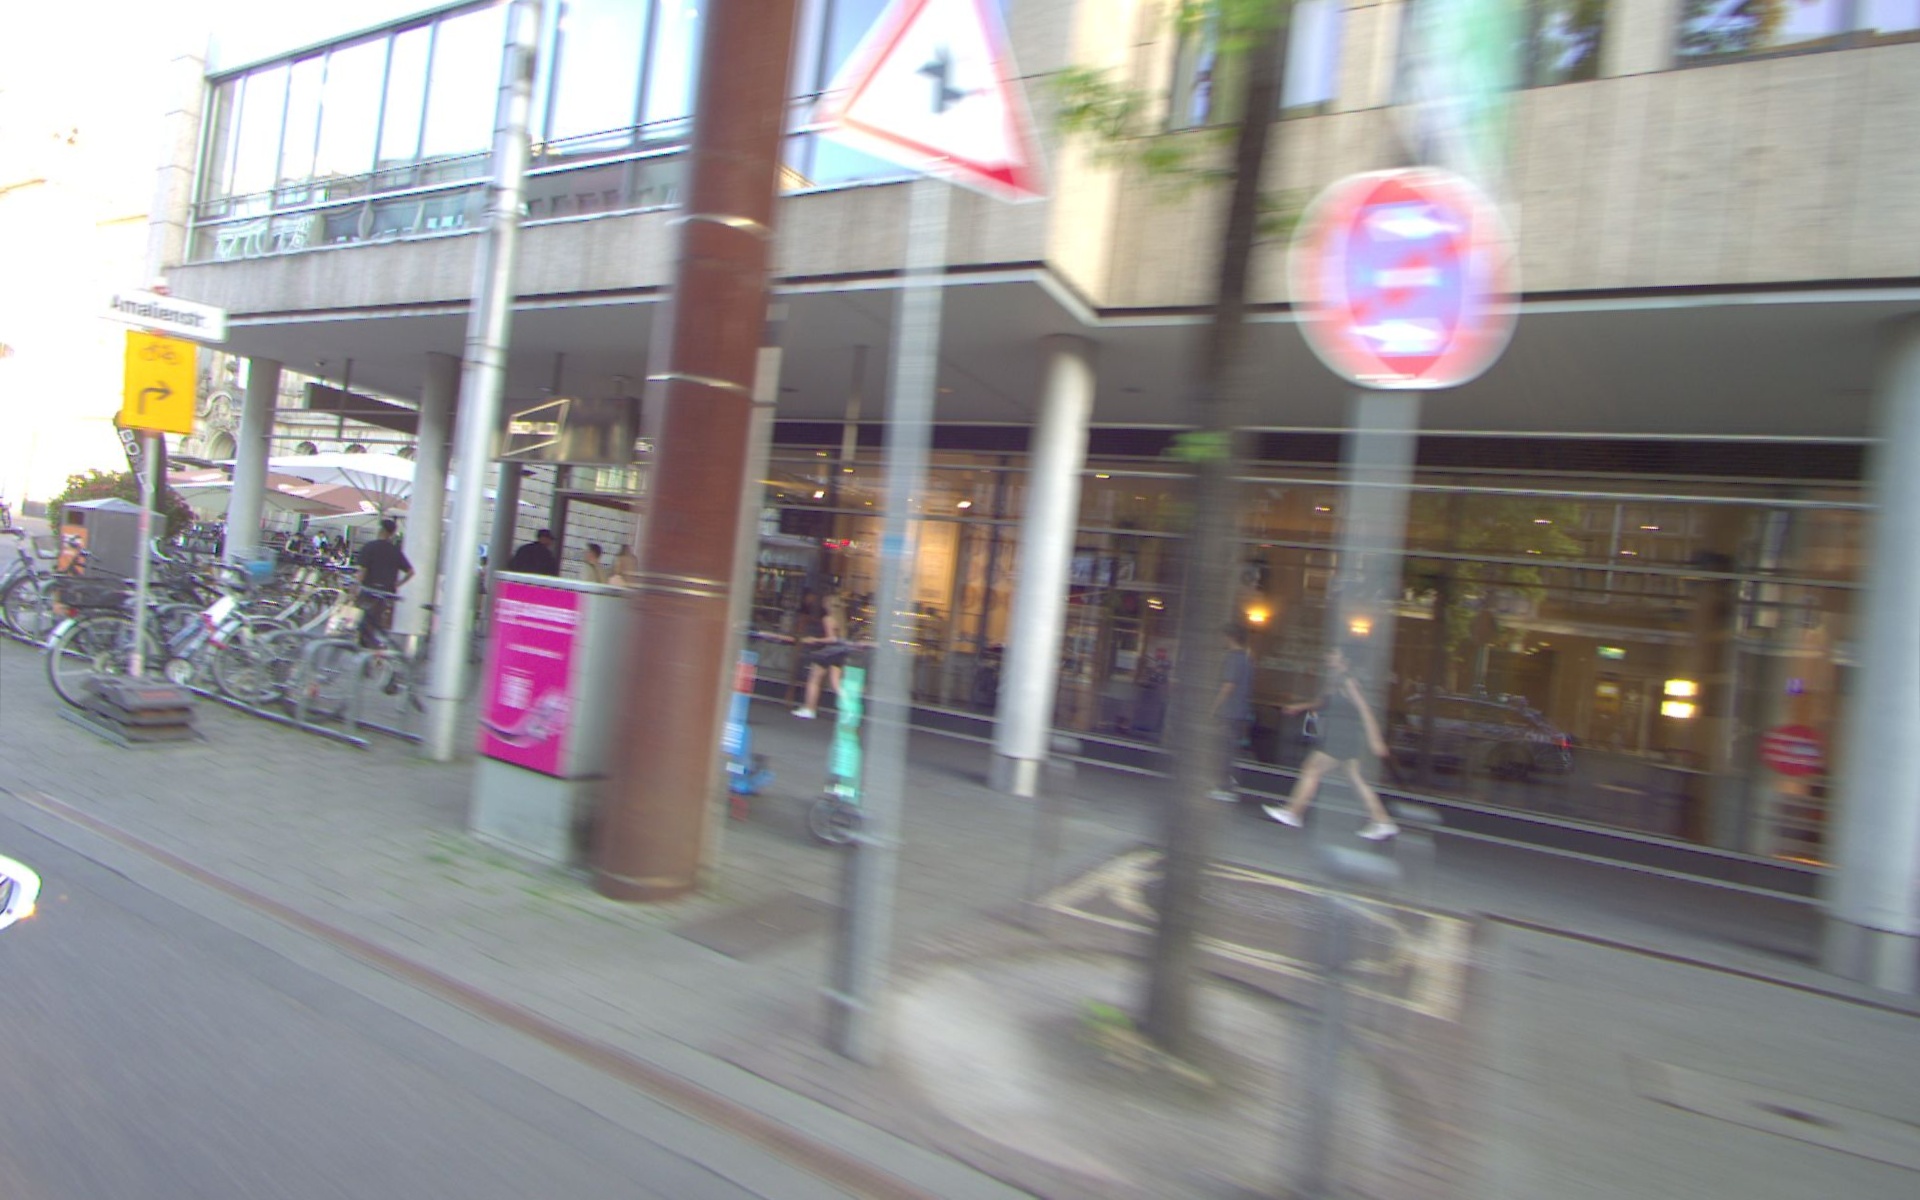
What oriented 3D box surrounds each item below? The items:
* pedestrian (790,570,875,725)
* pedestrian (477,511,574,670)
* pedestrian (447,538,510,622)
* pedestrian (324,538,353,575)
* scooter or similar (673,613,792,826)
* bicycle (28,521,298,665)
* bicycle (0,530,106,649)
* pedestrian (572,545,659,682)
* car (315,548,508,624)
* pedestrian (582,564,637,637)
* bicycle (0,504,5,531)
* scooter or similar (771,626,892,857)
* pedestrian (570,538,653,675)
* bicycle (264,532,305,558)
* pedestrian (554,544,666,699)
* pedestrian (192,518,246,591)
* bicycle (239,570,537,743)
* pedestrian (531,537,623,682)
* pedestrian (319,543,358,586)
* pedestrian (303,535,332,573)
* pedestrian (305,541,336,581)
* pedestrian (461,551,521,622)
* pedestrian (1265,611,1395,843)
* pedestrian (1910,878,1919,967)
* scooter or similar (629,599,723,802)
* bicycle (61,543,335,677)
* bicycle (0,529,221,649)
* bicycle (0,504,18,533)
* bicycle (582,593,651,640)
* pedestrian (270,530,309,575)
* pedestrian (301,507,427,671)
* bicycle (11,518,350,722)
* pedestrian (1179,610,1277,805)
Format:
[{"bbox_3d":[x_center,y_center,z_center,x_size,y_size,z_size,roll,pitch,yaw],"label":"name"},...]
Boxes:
[{"bbox_3d":[-1.525,0.570,12.060,0.606,1.753,0.571,7,1,28],"label":"pedestrian"},{"bbox_3d":[-5.887,-0.118,13.641,0.769,2.039,0.687,7,1,30],"label":"pedestrian"},{"bbox_3d":[-11.651,-0.481,24.346,0.859,1.860,0.806,7,-2,29],"label":"pedestrian"},{"bbox_3d":[-24.419,-1.717,39.520,0.572,1.324,0.593,10,0,27],"label":"pedestrian"},{"bbox_3d":[-1.499,0.745,6.793,0.386,1.267,1.191,7,1,0],"label":"scooter or similar"},{"bbox_3d":[-7.859,-0.036,10.037,0.749,1.238,1.919,7,1,24],"label":"bicycle"},{"bbox_3d":[-9.631,-0.135,9.782,0.655,1.122,1.856,7,0,27],"label":"bicycle"},{"bbox_3d":[-4.778,0.196,13.959,0.707,1.809,0.664,7,1,30],"label":"pedestrian"},{"bbox_3d":[-14.289,-0.323,26.447,1.745,1.425,4.050,6,-3,28],"label":"car"},{"bbox_3d":[-9.788,0.028,28.095,0.858,1.862,0.867,10,1,24],"label":"pedestrian"},{"bbox_3d":[-32.423,-2.795,33.681,0.983,0.878,0.316,7,1,28],"label":"bicycle"},{"bbox_3d":[-0.785,0.842,6.409,0.488,1.267,1.115,7,1,-1],"label":"scooter or similar"},{"bbox_3d":[-5.033,0.096,14.522,0.708,1.871,0.663,7,1,35],"label":"pedestrian"},{"bbox_3d":[-27.901,-2.278,41.590,0.403,0.905,1.321,8,0,25],"label":"bicycle"},{"bbox_3d":[-4.193,0.262,12.105,0.795,1.716,0.805,7,0,15],"label":"pedestrian"},{"bbox_3d":[-20.409,-1.257,27.707,0.793,1.845,0.809,8,1,34],"label":"pedestrian"},{"bbox_3d":[-4.564,0.442,8.222,0.712,1.170,2.000,7,1,24],"label":"bicycle"},{"bbox_3d":[-5.058,0.131,13.297,0.707,1.809,0.664,7,1,30],"label":"pedestrian"},{"bbox_3d":[-20.776,-1.202,33.644,0.817,1.257,0.778,10,0,43],"label":"pedestrian"},{"bbox_3d":[-24.912,-1.787,39.006,0.571,1.324,0.594,10,0,25],"label":"pedestrian"},{"bbox_3d":[-21.953,-1.343,34.526,0.691,1.240,0.614,10,0,43],"label":"pedestrian"},{"bbox_3d":[-11.671,-0.330,25.059,0.859,1.599,0.806,7,-2,29],"label":"pedestrian"},{"bbox_3d":[3.163,1.049,8.577,0.760,1.794,0.774,7,0,28],"label":"pedestrian"},{"bbox_3d":[6.438,1.411,5.965,0.865,1.862,0.669,7,1,29],"label":"pedestrian"},{"bbox_3d":[-2.062,0.674,7.218,0.388,1.267,1.185,7,1,-22],"label":"scooter or similar"},{"bbox_3d":[-7.235,0.119,9.675,0.749,1.091,1.919,7,1,24],"label":"bicycle"},{"bbox_3d":[-9.196,-0.087,10.810,0.655,1.122,1.856,7,0,27],"label":"bicycle"},{"bbox_3d":[-32.269,-2.763,33.968,0.983,0.878,0.316,7,1,28],"label":"bicycle"},{"bbox_3d":[-8.955,0.438,26.274,0.551,1.053,1.683,5,-2,30],"label":"bicycle"},{"bbox_3d":[-23.264,-1.648,34.902,0.643,1.399,0.803,10,0,40],"label":"pedestrian"},{"bbox_3d":[-6.818,-0.118,11.522,0.908,1.740,0.764,6,0,30],"label":"pedestrian"},{"bbox_3d":[-5.988,0.164,7.881,0.712,1.350,1.919,7,1,24],"label":"bicycle"},{"bbox_3d":[2.594,1.016,9.714,0.606,1.753,0.571,7,1,28],"label":"pedestrian"}]
